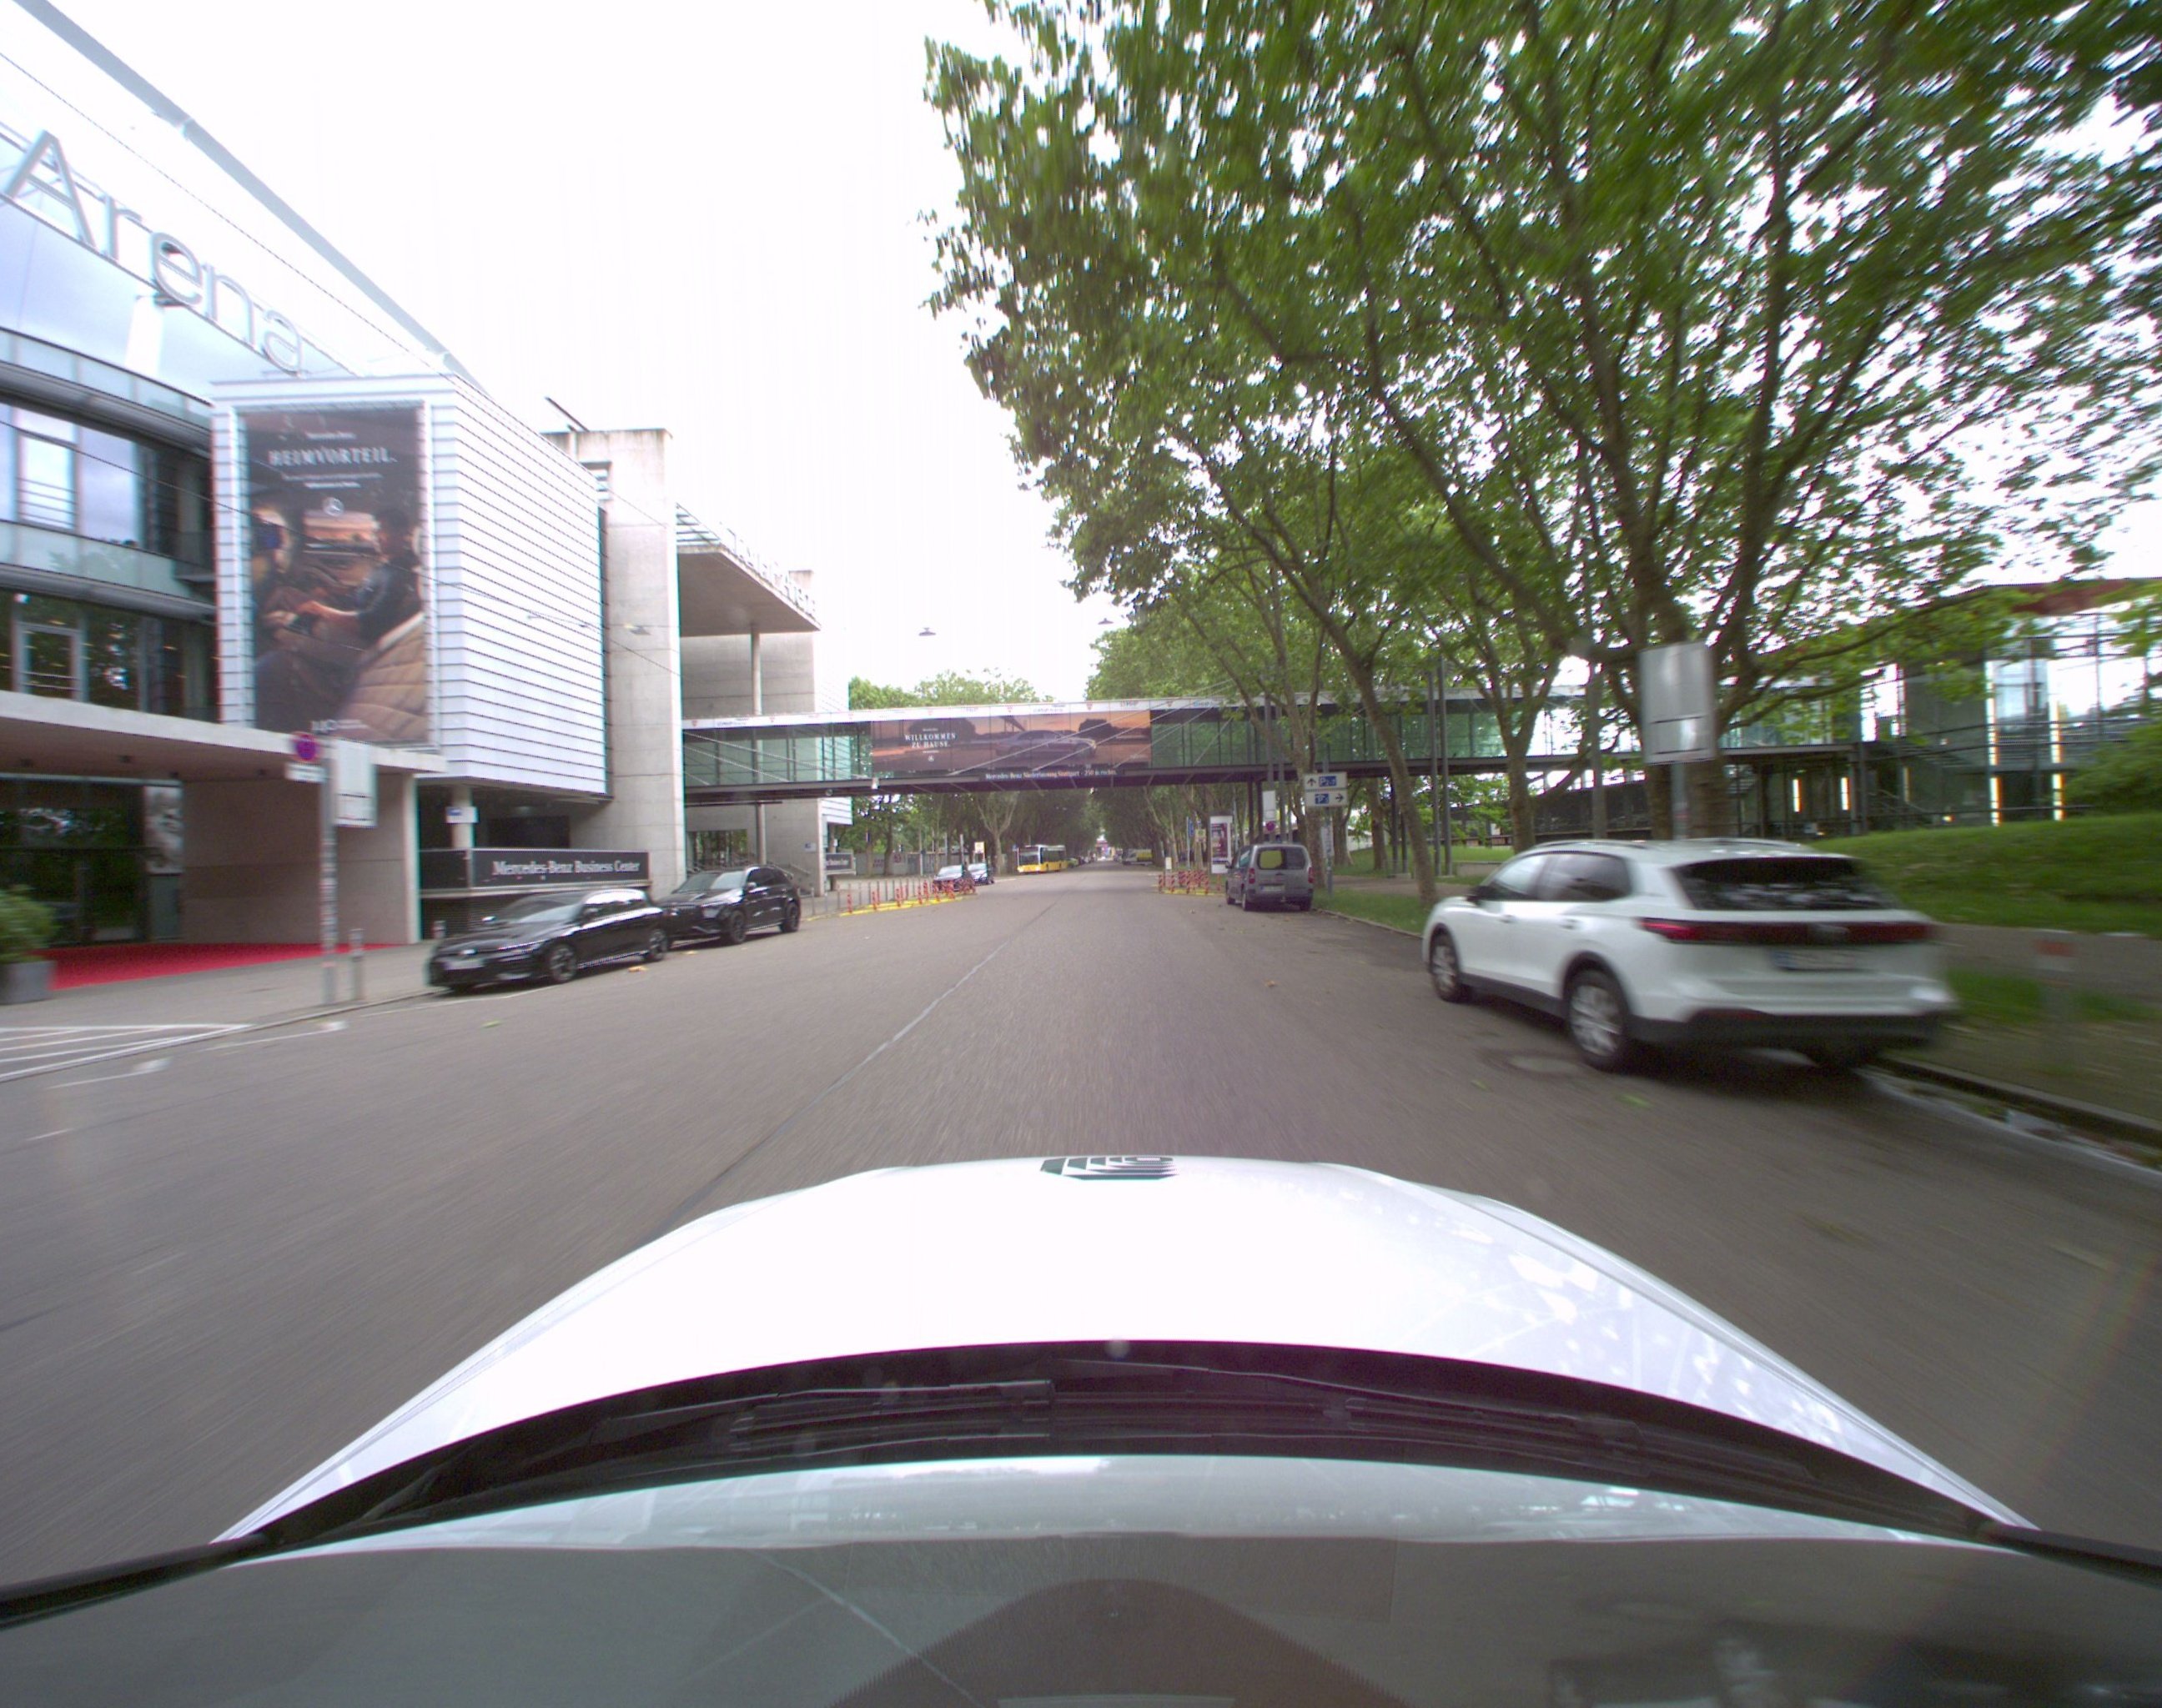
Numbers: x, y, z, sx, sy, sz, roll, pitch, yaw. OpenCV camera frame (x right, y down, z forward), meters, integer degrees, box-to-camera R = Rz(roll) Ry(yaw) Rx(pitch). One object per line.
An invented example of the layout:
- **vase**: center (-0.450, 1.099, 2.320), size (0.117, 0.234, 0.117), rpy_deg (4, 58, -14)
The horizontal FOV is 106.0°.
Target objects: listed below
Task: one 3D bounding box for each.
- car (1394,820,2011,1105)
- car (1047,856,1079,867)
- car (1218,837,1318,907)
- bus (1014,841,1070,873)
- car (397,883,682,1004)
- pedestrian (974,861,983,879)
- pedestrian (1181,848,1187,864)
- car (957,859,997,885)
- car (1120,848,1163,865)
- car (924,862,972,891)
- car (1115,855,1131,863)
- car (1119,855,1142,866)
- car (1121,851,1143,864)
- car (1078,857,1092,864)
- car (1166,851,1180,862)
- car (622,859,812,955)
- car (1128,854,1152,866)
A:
- **car**: center (4.568, 0.653, 7.177), size (1.907, 1.618, 4.751), rpy_deg (-2, 0, 2)
- **car**: center (-2.682, 1.104, 123.893), size (4.681, 1.584, 1.865), rpy_deg (-2, 0, 2)
- **car**: center (5.257, 0.481, 23.576), size (1.840, 1.783, 5.213), rpy_deg (-1, 0, 2)
- **bus**: center (-4.132, 0.297, 90.762), size (3.019, 3.160, 12.716), rpy_deg (-4, 0, 11)
- **car**: center (-8.778, 1.352, 13.765), size (1.698, 1.419, 4.327), rpy_deg (-5, 0, 2)
- **pedestrian**: center (-9.533, 1.506, 75.609), size (0.670, 1.603, 0.606), rpy_deg (-2, -1, -24)
- **pedestrian**: center (12.380, 0.262, 98.143), size (0.572, 1.888, 0.615), rpy_deg (-2, -1, -7)
- **car**: center (-7.254, 1.245, 57.085), size (1.986, 1.584, 4.115), rpy_deg (-5, 0, 2)
- **car**: center (9.952, 0.348, 133.526), size (6.802, 2.513, 2.316), rpy_deg (-2, 0, -1)
- **car**: center (-7.893, 1.306, 48.700), size (1.851, 1.453, 4.451), rpy_deg (-5, 0, 2)
- **car**: center (9.674, 1.185, 186.808), size (3.609, 1.794, 1.543), rpy_deg (-2, -1, 1)
- **car**: center (8.562, 1.183, 141.008), size (3.973, 1.794, 1.543), rpy_deg (-2, -1, 1)
- **car**: center (9.534, 0.604, 151.638), size (3.973, 2.339, 1.543), rpy_deg (-2, -1, 1)
- **car**: center (1.232, 1.822, 237.815), size (3.971, 1.970, 2.001), rpy_deg (-2, -1, 2)
- **car**: center (15.871, 0.403, 140.783), size (1.986, 1.772, 4.002), rpy_deg (-2, 0, 2)
- **car**: center (-8.404, 1.115, 19.454), size (2.027, 1.789, 4.911), rpy_deg (-5, 0, 2)
- **car**: center (9.918, 0.985, 136.856), size (3.969, 1.788, 1.521), rpy_deg (-2, 0, 4)
